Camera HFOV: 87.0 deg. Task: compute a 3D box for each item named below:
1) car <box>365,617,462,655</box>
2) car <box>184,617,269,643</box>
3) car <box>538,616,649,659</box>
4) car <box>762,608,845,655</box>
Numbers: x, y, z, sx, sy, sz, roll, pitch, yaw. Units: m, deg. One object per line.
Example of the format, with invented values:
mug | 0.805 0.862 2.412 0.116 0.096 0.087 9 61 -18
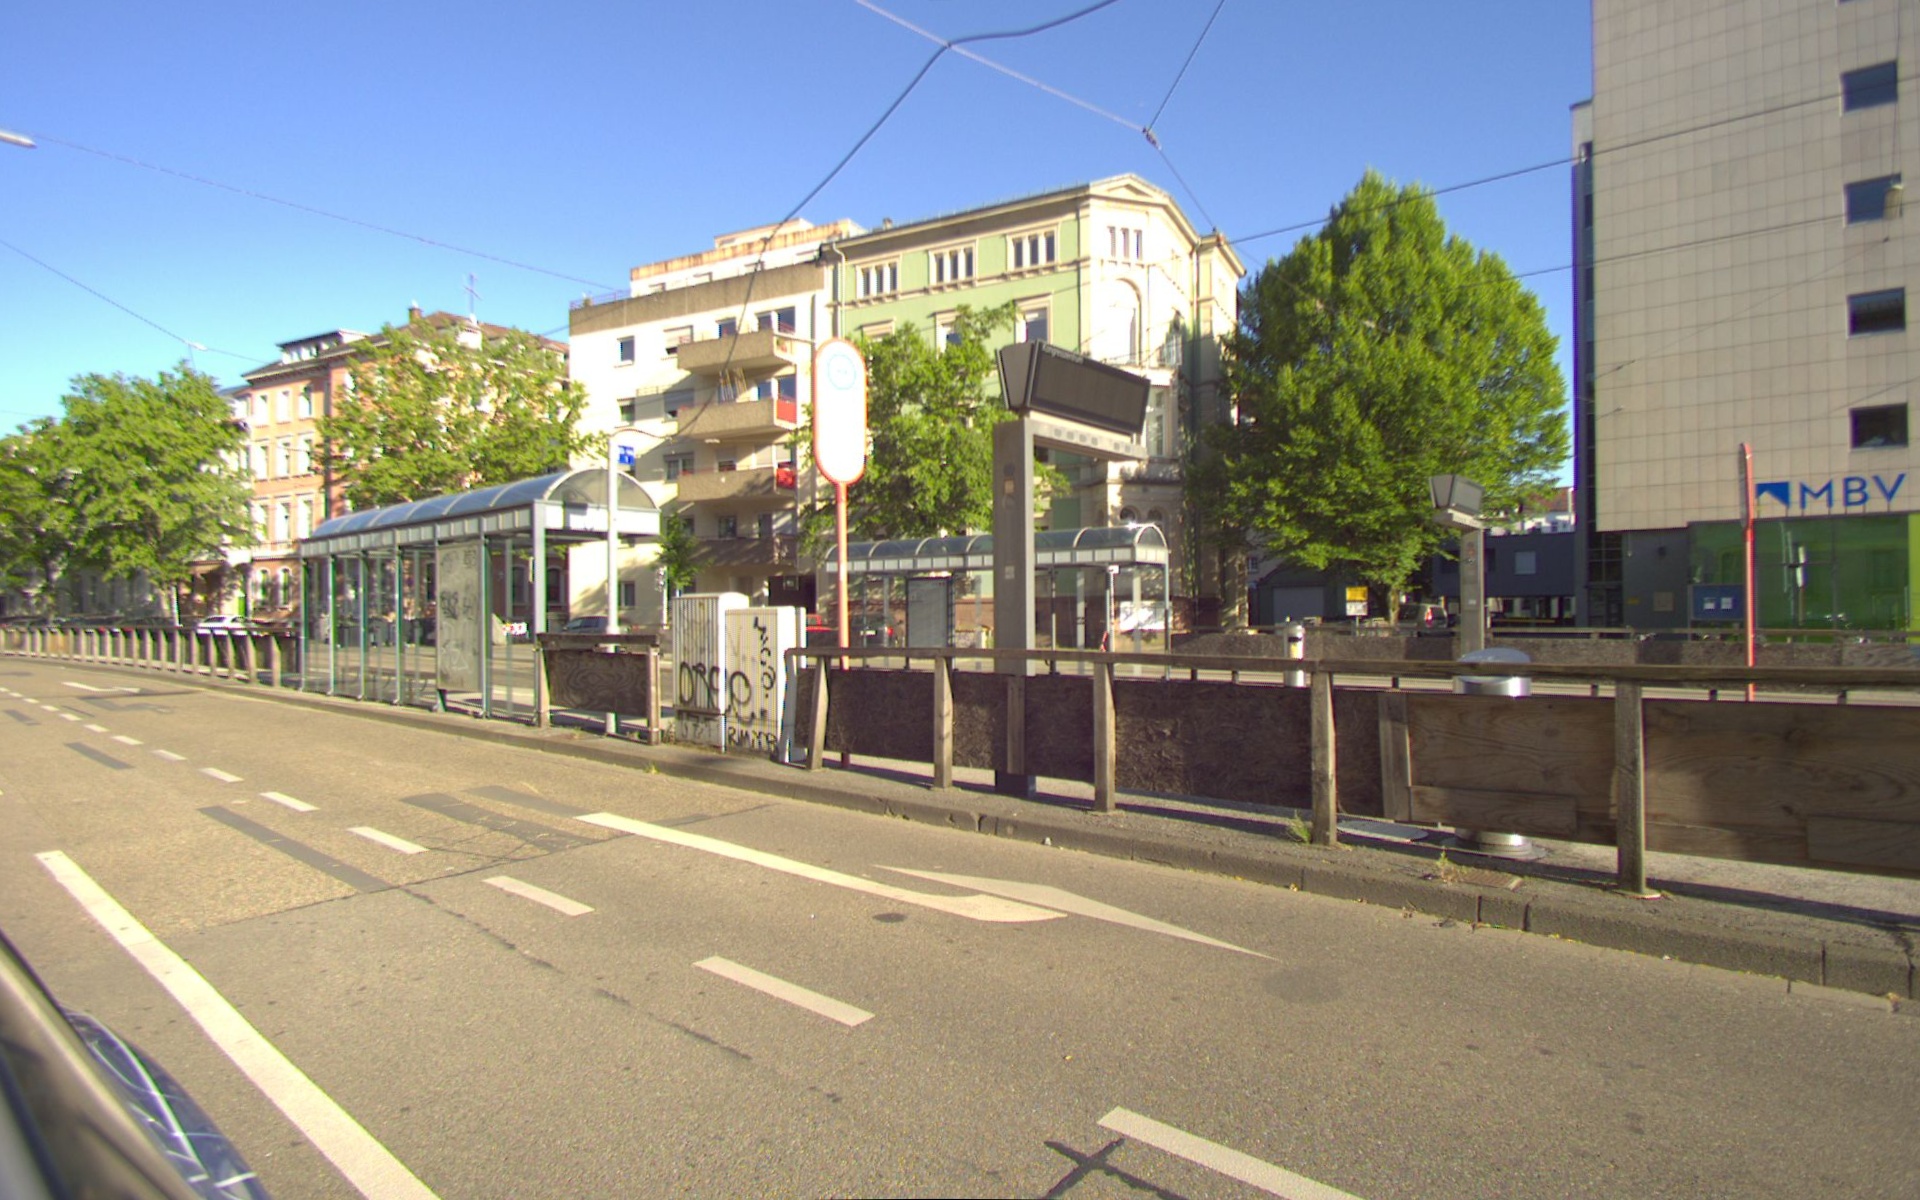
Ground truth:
car | -23.381 1.520 43.278 3.987 1.541 1.978 -1 -2 32
car | -39.209 1.585 54.220 1.565 1.360 3.631 0 -1 11
car | -14.013 1.427 38.663 3.987 1.542 1.978 -1 -3 32
car | -7.074 1.406 46.201 1.791 2.029 3.963 -1 -1 27
